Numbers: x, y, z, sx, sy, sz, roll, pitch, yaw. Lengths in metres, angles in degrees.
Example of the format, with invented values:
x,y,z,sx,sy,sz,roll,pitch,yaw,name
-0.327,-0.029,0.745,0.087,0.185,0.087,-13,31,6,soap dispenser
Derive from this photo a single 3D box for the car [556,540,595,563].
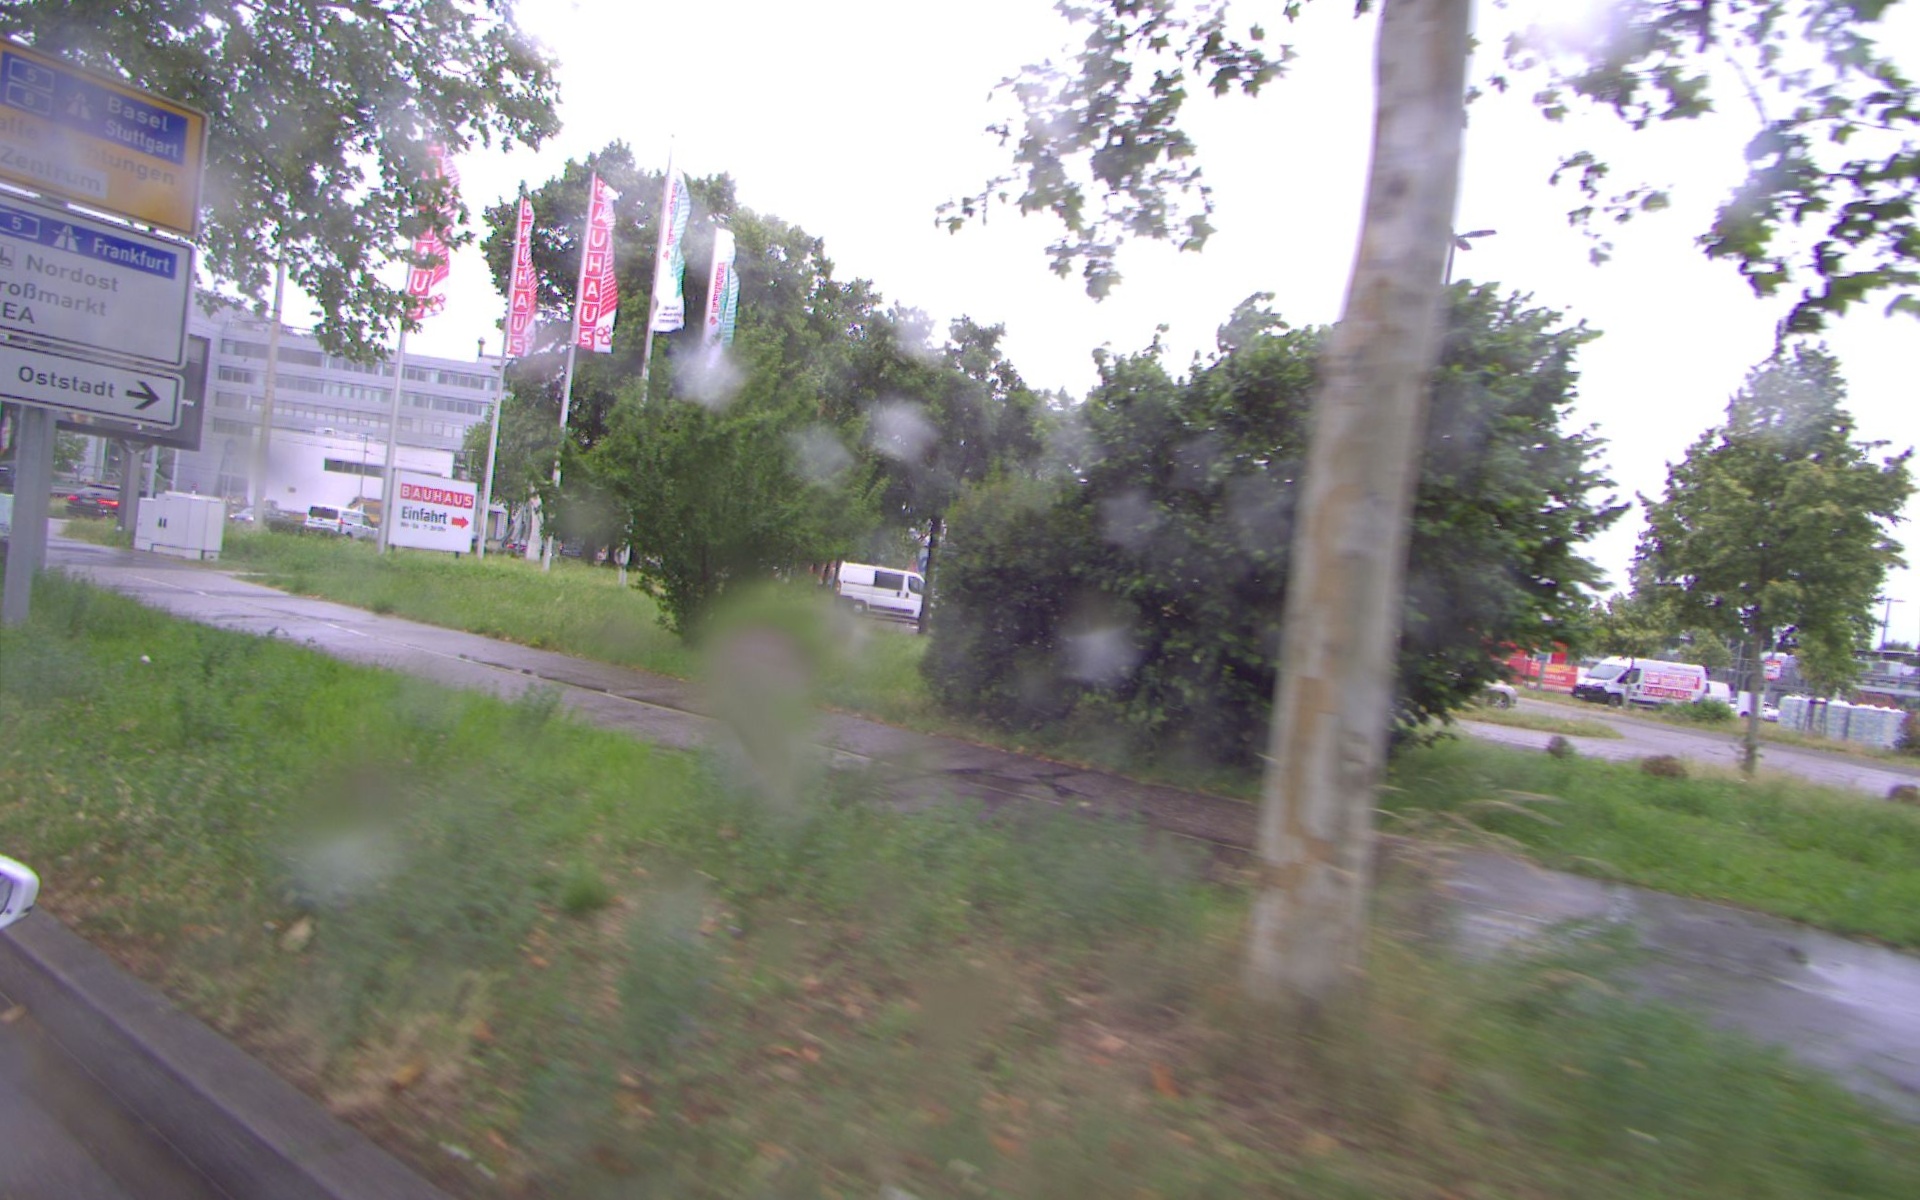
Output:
x,y,z,sx,sy,sz,roll,pitch,yaw,name
-32.390,-4.089,84.908,1.770,1.556,4.383,7,0,-4,car

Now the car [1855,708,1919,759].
x,y,z,sx,sy,sz,roll,pitch,yaw,name
49.674,7.030,51.983,2.044,2.229,5.155,5,-1,-1,car

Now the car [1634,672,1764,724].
x,y,z,sx,sy,sz,roll,pitch,yaw,name
42.083,5.565,57.382,5.563,2.168,2.002,7,-1,5,car

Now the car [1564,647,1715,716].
x,y,z,sx,sy,sz,roll,pitch,yaw,name
30.889,3.697,45.792,5.572,2.362,1.999,7,-1,-6,car

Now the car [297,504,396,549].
x,y,z,sx,sy,sz,roll,pitch,yaw,name
-29.078,-3.454,47.857,1.768,1.556,4.387,7,0,3,car

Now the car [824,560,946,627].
x,y,z,sx,sy,sz,roll,pitch,yaw,name
-3.194,-0.280,42.573,4.833,2.180,1.803,7,0,-9,car

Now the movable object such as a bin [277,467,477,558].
x,y,z,sx,sy,sz,roll,pitch,yaw,name
-58.488,-8.677,101.719,14.695,6.356,8.270,7,-1,-2,movable object such as a bin

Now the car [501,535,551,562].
x,y,z,sx,sy,sz,roll,pitch,yaw,name
-31.557,-3.720,73.284,1.769,1.556,4.384,7,0,-4,car

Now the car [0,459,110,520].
x,y,z,sx,sy,sz,roll,pitch,yaw,name
-39.590,-4.784,43.610,1.769,2.220,4.380,7,2,-3,car

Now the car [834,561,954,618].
x,y,z,sx,sy,sz,roll,pitch,yaw,name
-3.903,-0.585,59.593,6.702,2.464,2.327,7,0,-4,car

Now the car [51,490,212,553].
x,y,z,sx,sy,sz,roll,pitch,yaw,name
-29.121,-2.707,35.556,1.768,1.555,4.389,7,-1,3,car
